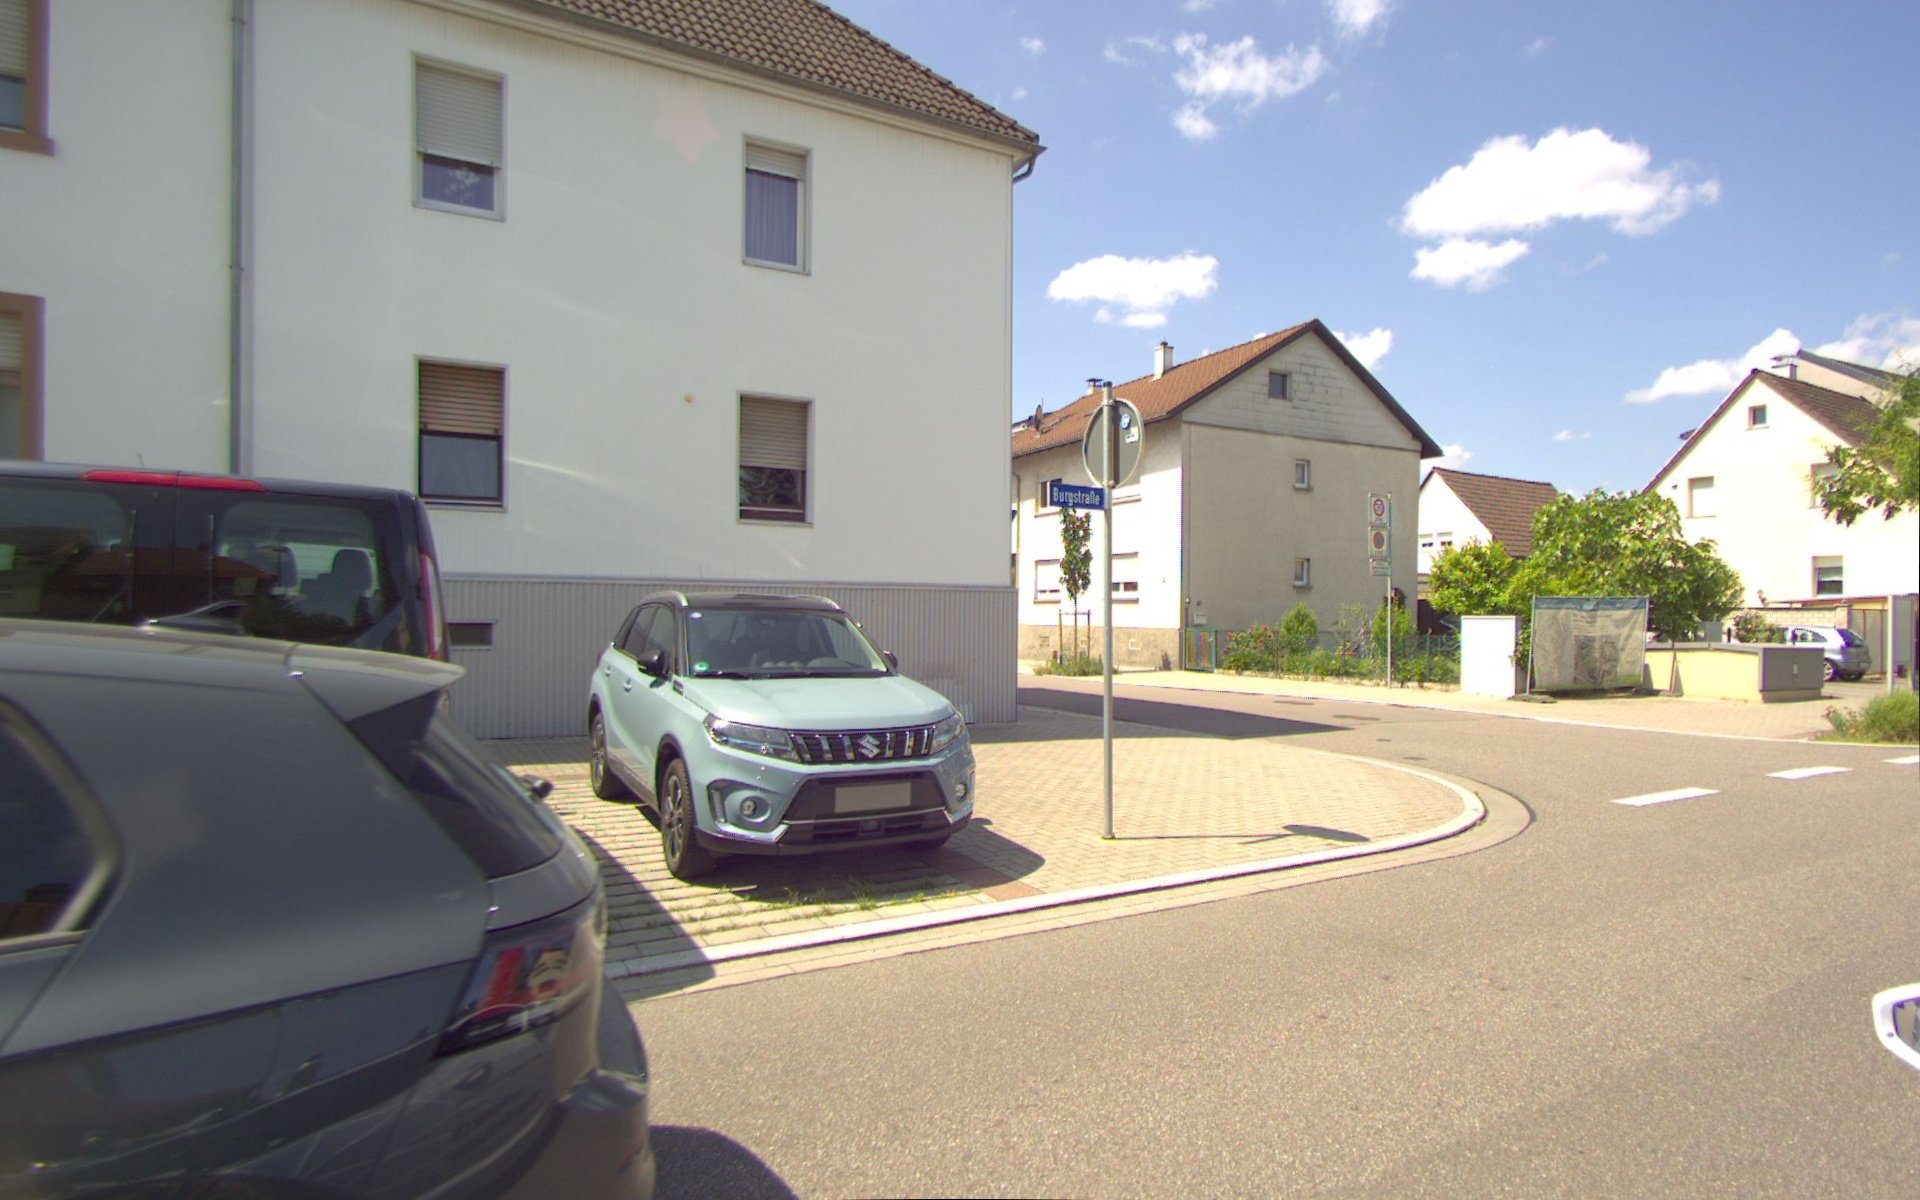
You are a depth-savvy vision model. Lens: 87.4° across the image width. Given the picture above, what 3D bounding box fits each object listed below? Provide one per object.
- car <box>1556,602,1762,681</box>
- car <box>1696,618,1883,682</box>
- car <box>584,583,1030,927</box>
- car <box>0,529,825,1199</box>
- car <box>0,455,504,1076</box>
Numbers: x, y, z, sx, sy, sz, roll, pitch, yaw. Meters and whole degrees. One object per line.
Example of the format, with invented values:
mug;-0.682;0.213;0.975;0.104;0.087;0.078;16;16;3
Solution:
car;18.208;1.008;26.363;1.975;1.824;3.970;1;1;-28
car;22.469;1.306;27.343;1.767;1.490;3.514;1;1;-25
car;-1.392;0.749;7.118;1.751;1.641;4.156;2;0;-29
car;-2.365;0.702;1.295;4.002;1.543;1.754;1;-3;-31
car;-3.748;0.494;5.417;1.915;1.949;4.678;2;0;-29
